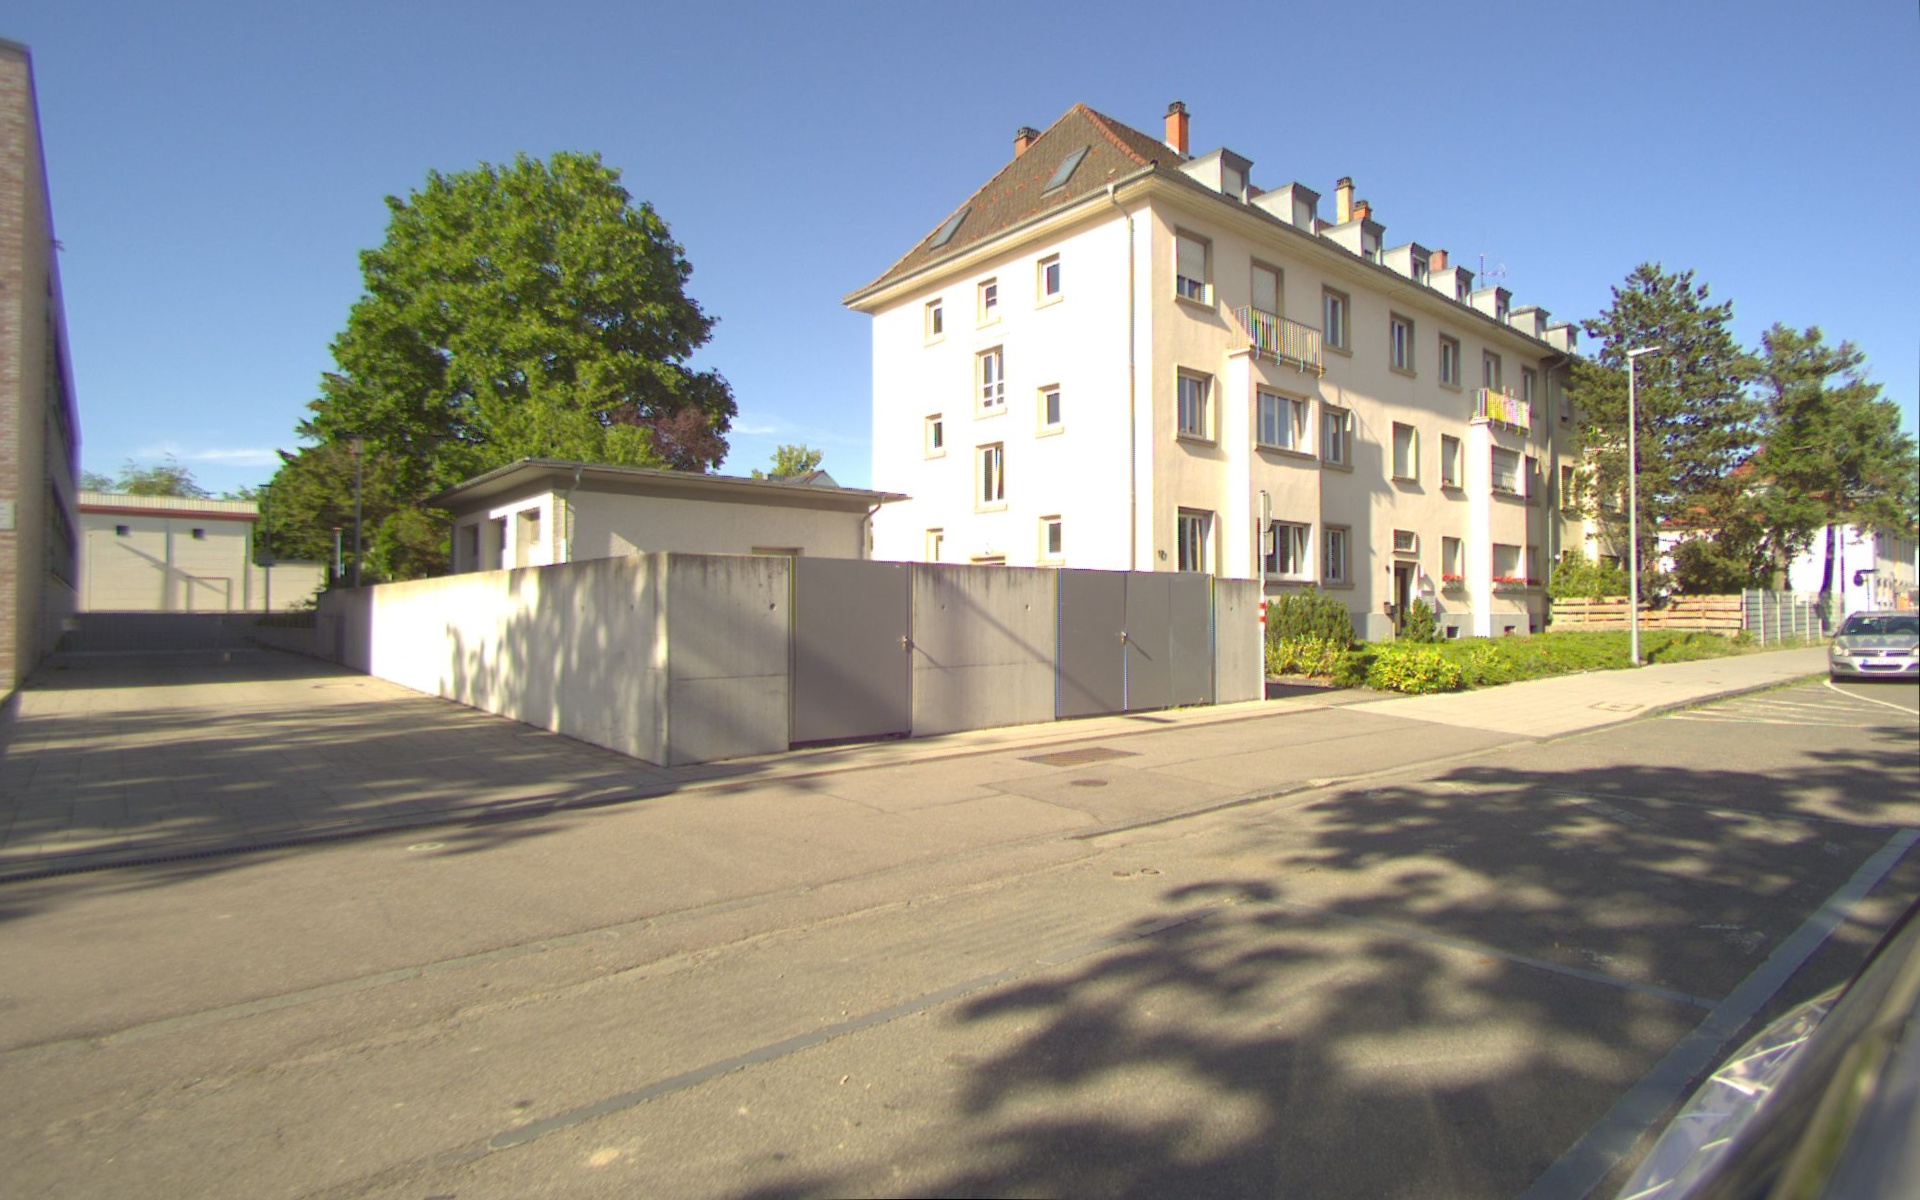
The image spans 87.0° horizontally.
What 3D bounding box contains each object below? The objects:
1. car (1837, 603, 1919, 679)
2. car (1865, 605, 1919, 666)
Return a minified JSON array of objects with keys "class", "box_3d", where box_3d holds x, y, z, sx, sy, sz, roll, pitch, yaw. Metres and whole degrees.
[{"class":"car","box_3d":[19.924,0.826,21.402,4.338,1.484,1.660,1,-3,-44]},{"class":"car","box_3d":[24.583,0.864,25.672,4.212,1.439,1.797,0,-3,-40]}]
